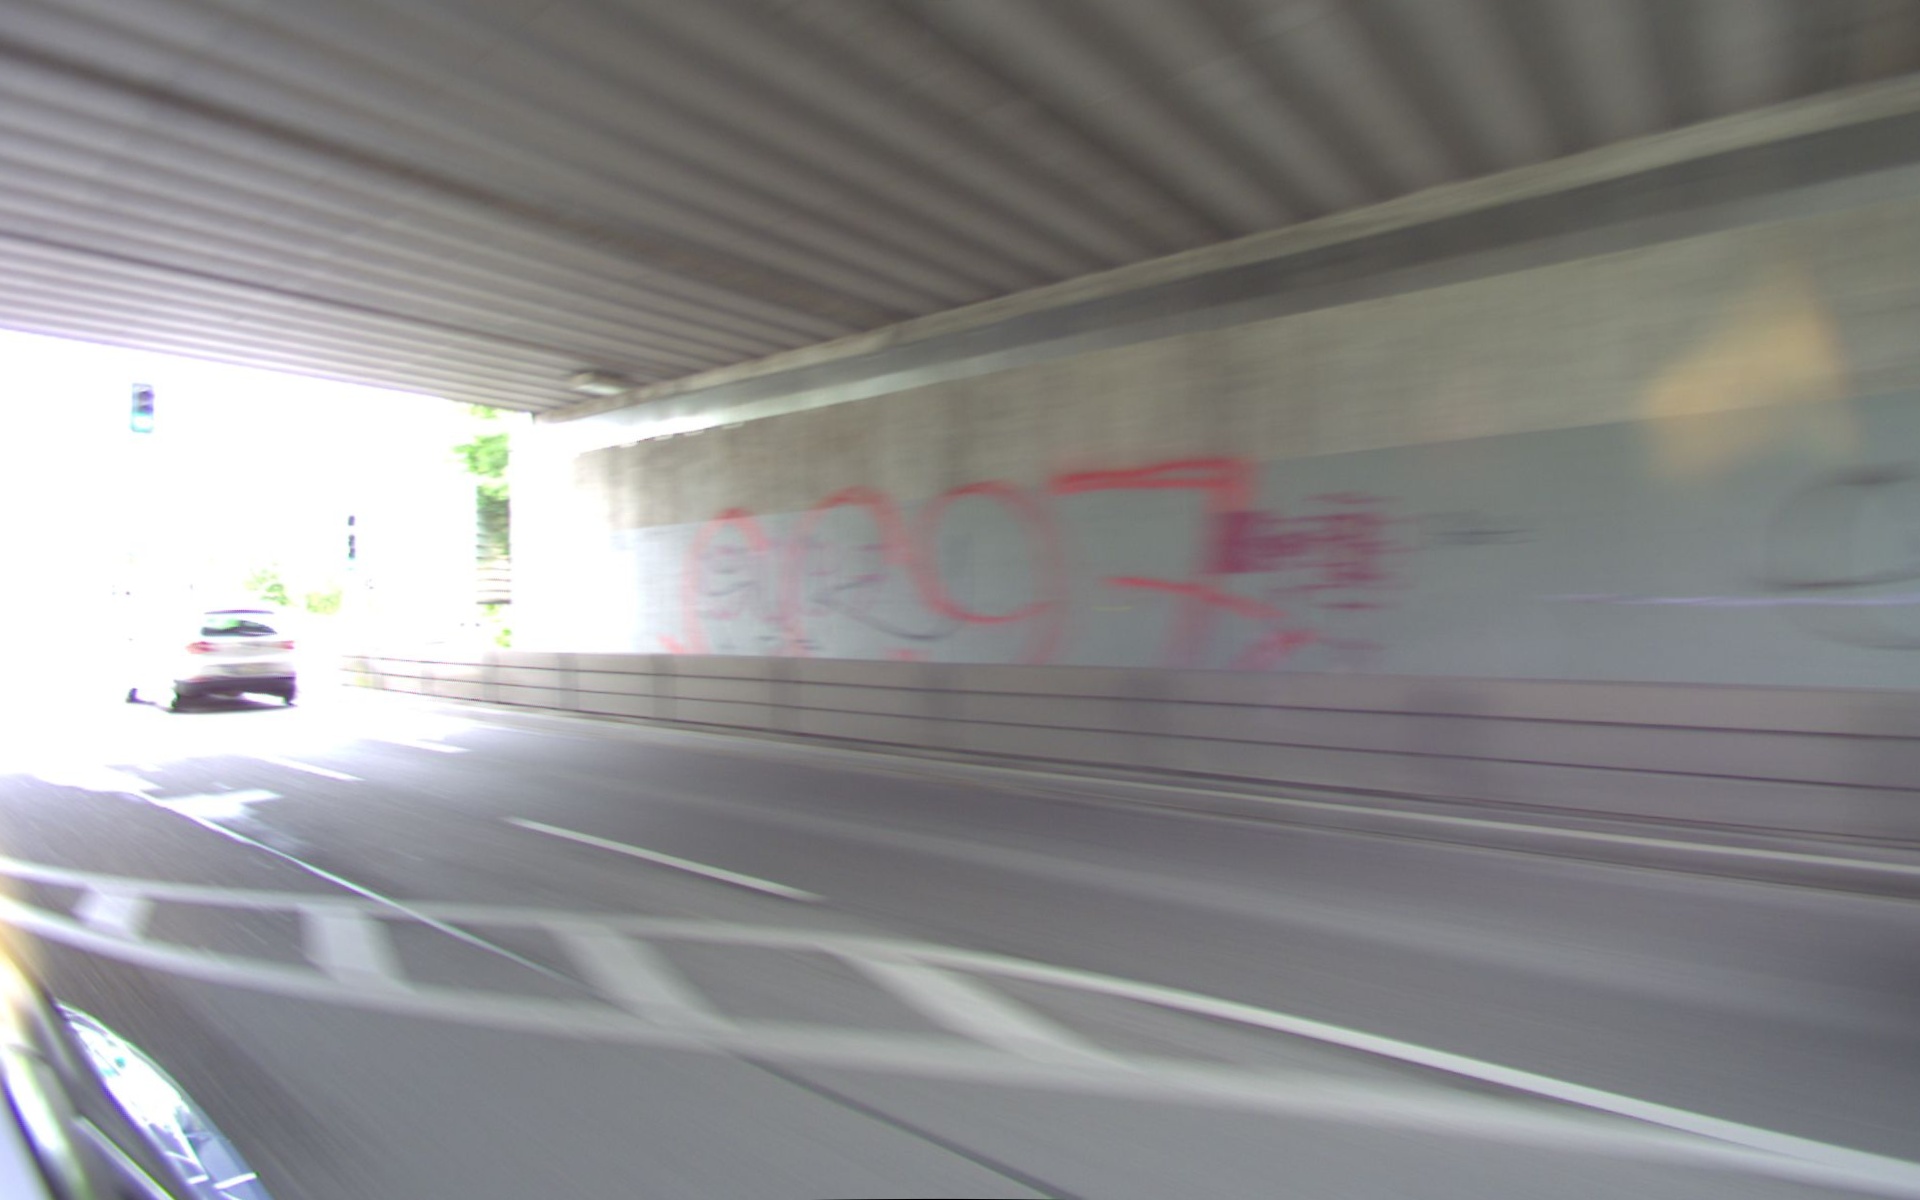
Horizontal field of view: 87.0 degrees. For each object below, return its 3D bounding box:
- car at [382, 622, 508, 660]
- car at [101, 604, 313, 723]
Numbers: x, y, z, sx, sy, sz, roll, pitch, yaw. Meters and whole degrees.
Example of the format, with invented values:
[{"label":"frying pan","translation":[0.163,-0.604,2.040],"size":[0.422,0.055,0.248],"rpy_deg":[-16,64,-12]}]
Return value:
[{"label":"car","translation":[-20.866,1.634,41.210],"size":[1.987,1.349,4.387],"rpy_deg":[0,0,22]},{"label":"car","translation":[-12.327,0.955,16.481],"size":[4.103,1.672,1.766],"rpy_deg":[-1,0,38]}]
